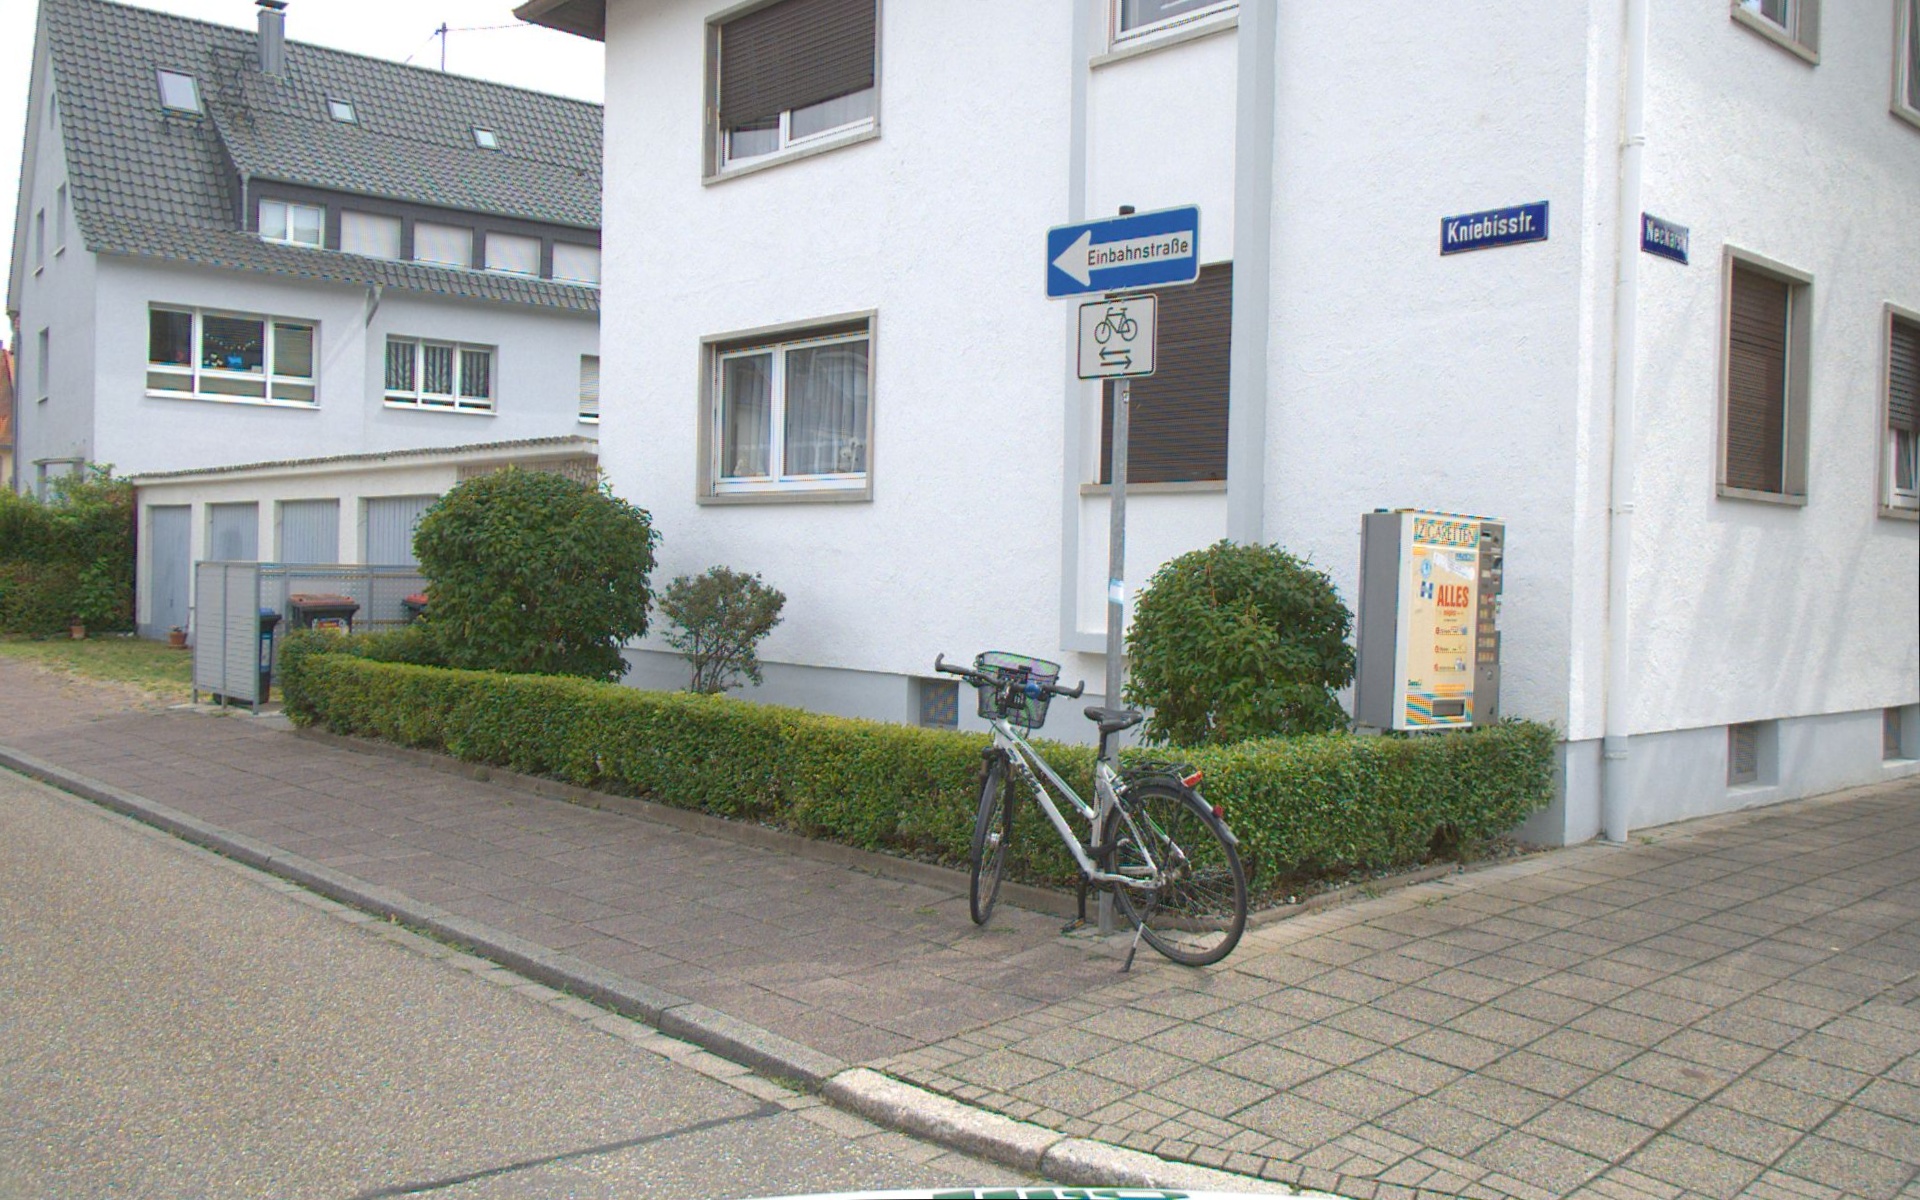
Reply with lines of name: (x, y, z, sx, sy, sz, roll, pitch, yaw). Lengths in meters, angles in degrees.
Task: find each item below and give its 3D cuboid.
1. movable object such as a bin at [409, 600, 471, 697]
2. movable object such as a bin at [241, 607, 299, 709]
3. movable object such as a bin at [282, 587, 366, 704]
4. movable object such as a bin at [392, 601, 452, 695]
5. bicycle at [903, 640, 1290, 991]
movable object such as a bin: (-5.419, 0.499, 17.234, 0.451, 0.990, 0.499, 1, -1, -41)
movable object such as a bin: (-6.839, 0.562, 16.399, 0.387, 0.990, 0.507, 1, -1, -42)
movable object such as a bin: (-6.479, 0.452, 16.852, 0.576, 1.157, 0.743, 1, -1, -42)
movable object such as a bin: (-5.746, 0.507, 17.660, 0.451, 0.990, 0.499, 1, -1, -41)
bicycle: (0.486, 0.765, 6.473, 1.611, 1.200, 0.432, -1, -1, 44)
